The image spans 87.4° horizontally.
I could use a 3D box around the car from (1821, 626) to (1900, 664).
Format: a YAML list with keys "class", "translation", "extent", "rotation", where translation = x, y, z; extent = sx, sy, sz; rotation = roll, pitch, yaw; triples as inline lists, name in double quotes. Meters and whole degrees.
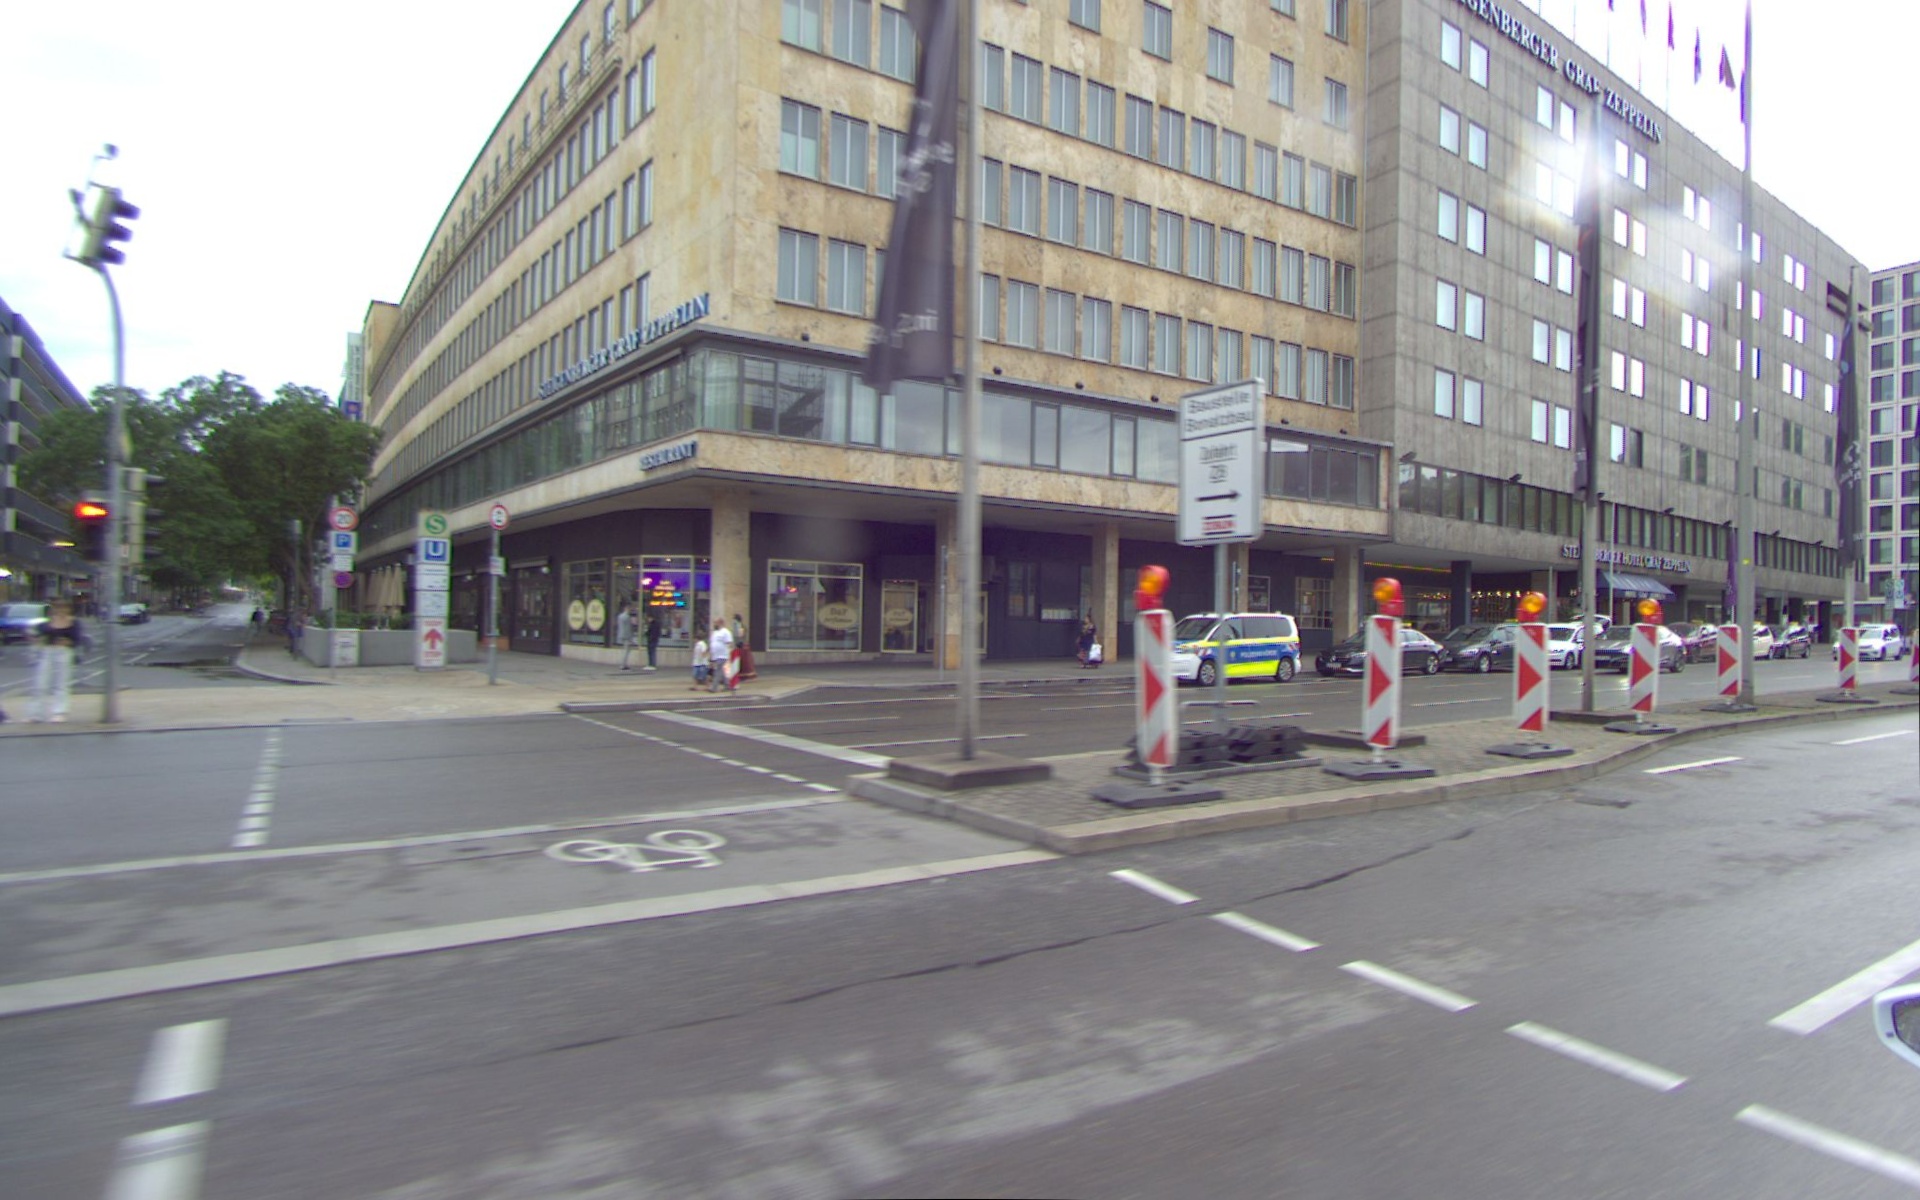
- class: "car"
  translation: [42.240, 2.075, 47.106]
  extent: [4.455, 1.691, 1.812]
  rotation: [1, -2, -35]

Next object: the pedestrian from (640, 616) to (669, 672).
- class: "pedestrian"
  translation: [-8.952, 1.285, 29.438]
  extent: [0.675, 1.630, 0.621]
  rotation: [1, -1, -29]

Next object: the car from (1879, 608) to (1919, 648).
- class: "car"
  translation: [58.309, 1.714, 61.746]
  extent: [4.327, 2.358, 1.763]
  rotation: [1, -1, -35]

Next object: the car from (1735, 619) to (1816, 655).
- class: "car"
  translation: [40.716, 1.838, 50.131]
  extent: [4.465, 1.750, 1.806]
  rotation: [1, -2, -32]

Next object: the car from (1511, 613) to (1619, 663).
- class: "car"
  translation: [22.620, 1.414, 37.507]
  extent: [4.664, 1.781, 1.743]
  rotation: [1, -2, -35]

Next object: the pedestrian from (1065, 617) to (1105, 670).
- class: "pedestrian"
  translation: [3.737, 1.298, 30.057]
  extent: [0.945, 1.569, 0.712]
  rotation: [1, -1, -28]

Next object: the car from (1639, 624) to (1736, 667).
- class: "car"
  translation: [31.767, 1.955, 43.834]
  extent: [4.596, 1.791, 1.891]
  rotation: [1, -2, -32]

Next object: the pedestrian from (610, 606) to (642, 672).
- class: "pedestrian"
  translation: [-9.749, 1.134, 29.311]
  extent: [0.763, 1.900, 0.712]
  rotation: [1, -1, -29]

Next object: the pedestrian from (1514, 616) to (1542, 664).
- class: "pedestrian"
  translation: [21.690, 1.527, 38.378]
  extent: [0.648, 1.805, 0.620]
  rotation: [2, 0, -20]

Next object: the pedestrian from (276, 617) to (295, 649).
- class: "pedestrian"
  translation: [-29.533, 1.443, 43.978]
  extent: [0.596, 1.383, 0.693]
  rotation: [1, 2, -37]

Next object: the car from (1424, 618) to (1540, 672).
- class: "car"
  translation: [17.699, 1.480, 34.000]
  extent: [4.186, 1.703, 1.743]
  rotation: [1, -2, -35]

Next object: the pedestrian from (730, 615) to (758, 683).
- class: "pedestrian"
  translation: [-5.234, 1.179, 24.350]
  extent: [0.655, 1.613, 0.679]
  rotation: [1, -1, -13]

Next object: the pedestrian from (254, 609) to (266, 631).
- class: "pedestrian"
  translation: [-43.652, 1.233, 62.604]
  extent: [0.560, 1.316, 0.617]
  rotation: [1, 2, -37]

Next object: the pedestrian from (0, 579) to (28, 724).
- class: "pedestrian"
  translation: [-13.228, 0.696, 13.551]
  extent: [0.579, 1.950, 0.718]
  rotation: [0, -1, 7]

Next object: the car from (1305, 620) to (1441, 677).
- class: "car"
  translation: [12.774, 1.474, 30.950]
  extent: [4.519, 1.643, 1.743]
  rotation: [1, -2, -35]

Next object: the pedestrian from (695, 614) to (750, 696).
- class: "pedestrian"
  translation: [-5.005, 1.139, 21.181]
  extent: [0.784, 1.640, 0.828]
  rotation: [1, 2, -44]

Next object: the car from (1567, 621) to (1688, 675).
- class: "car"
  translation: [22.335, 1.583, 33.561]
  extent: [4.452, 1.691, 1.764]
  rotation: [1, -2, -33]

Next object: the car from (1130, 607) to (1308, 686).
- class: "car"
  translation: [7.069, 1.187, 27.194]
  extent: [5.024, 1.954, 1.888]
  rotation: [0, -2, -35]

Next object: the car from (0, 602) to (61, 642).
- class: "car"
  translation: [-43.160, 1.022, 46.655]
  extent: [1.781, 1.750, 4.039]
  rotation: [1, -2, -38]

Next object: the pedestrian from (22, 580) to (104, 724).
- class: "pedestrian"
  translation: [-12.520, 0.719, 14.038]
  extent: [0.744, 1.950, 0.585]
  rotation: [1, -1, -35]

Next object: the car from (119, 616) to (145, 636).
- class: "car"
  translation: [-69.197, 2.135, 83.927]
  extent: [1.618, 1.627, 3.583]
  rotation: [1, -2, -39]

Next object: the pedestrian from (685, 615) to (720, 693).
- class: "pedestrian"
  translation: [-5.586, 1.167, 21.800]
  extent: [0.445, 1.640, 0.524]
  rotation: [4, 2, 45]

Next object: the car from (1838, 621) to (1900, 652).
- class: "car"
  translation: [53.382, 2.110, 58.948]
  extent: [4.327, 1.786, 1.763]
  rotation: [1, -1, -35]

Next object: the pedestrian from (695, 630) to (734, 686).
- class: "pedestrian"
  translation: [-5.794, 1.357, 23.697]
  extent: [0.746, 1.309, 0.559]
  rotation: [1, -2, -36]

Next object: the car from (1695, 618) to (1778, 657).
- class: "car"
  translation: [36.219, 1.749, 46.819]
  extent: [4.531, 1.720, 1.805]
  rotation: [1, -2, -34]

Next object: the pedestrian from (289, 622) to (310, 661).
- class: "pedestrian"
  translation: [-24.303, 1.531, 36.977]
  extent: [0.595, 1.383, 0.695]
  rotation: [1, 1, -32]
